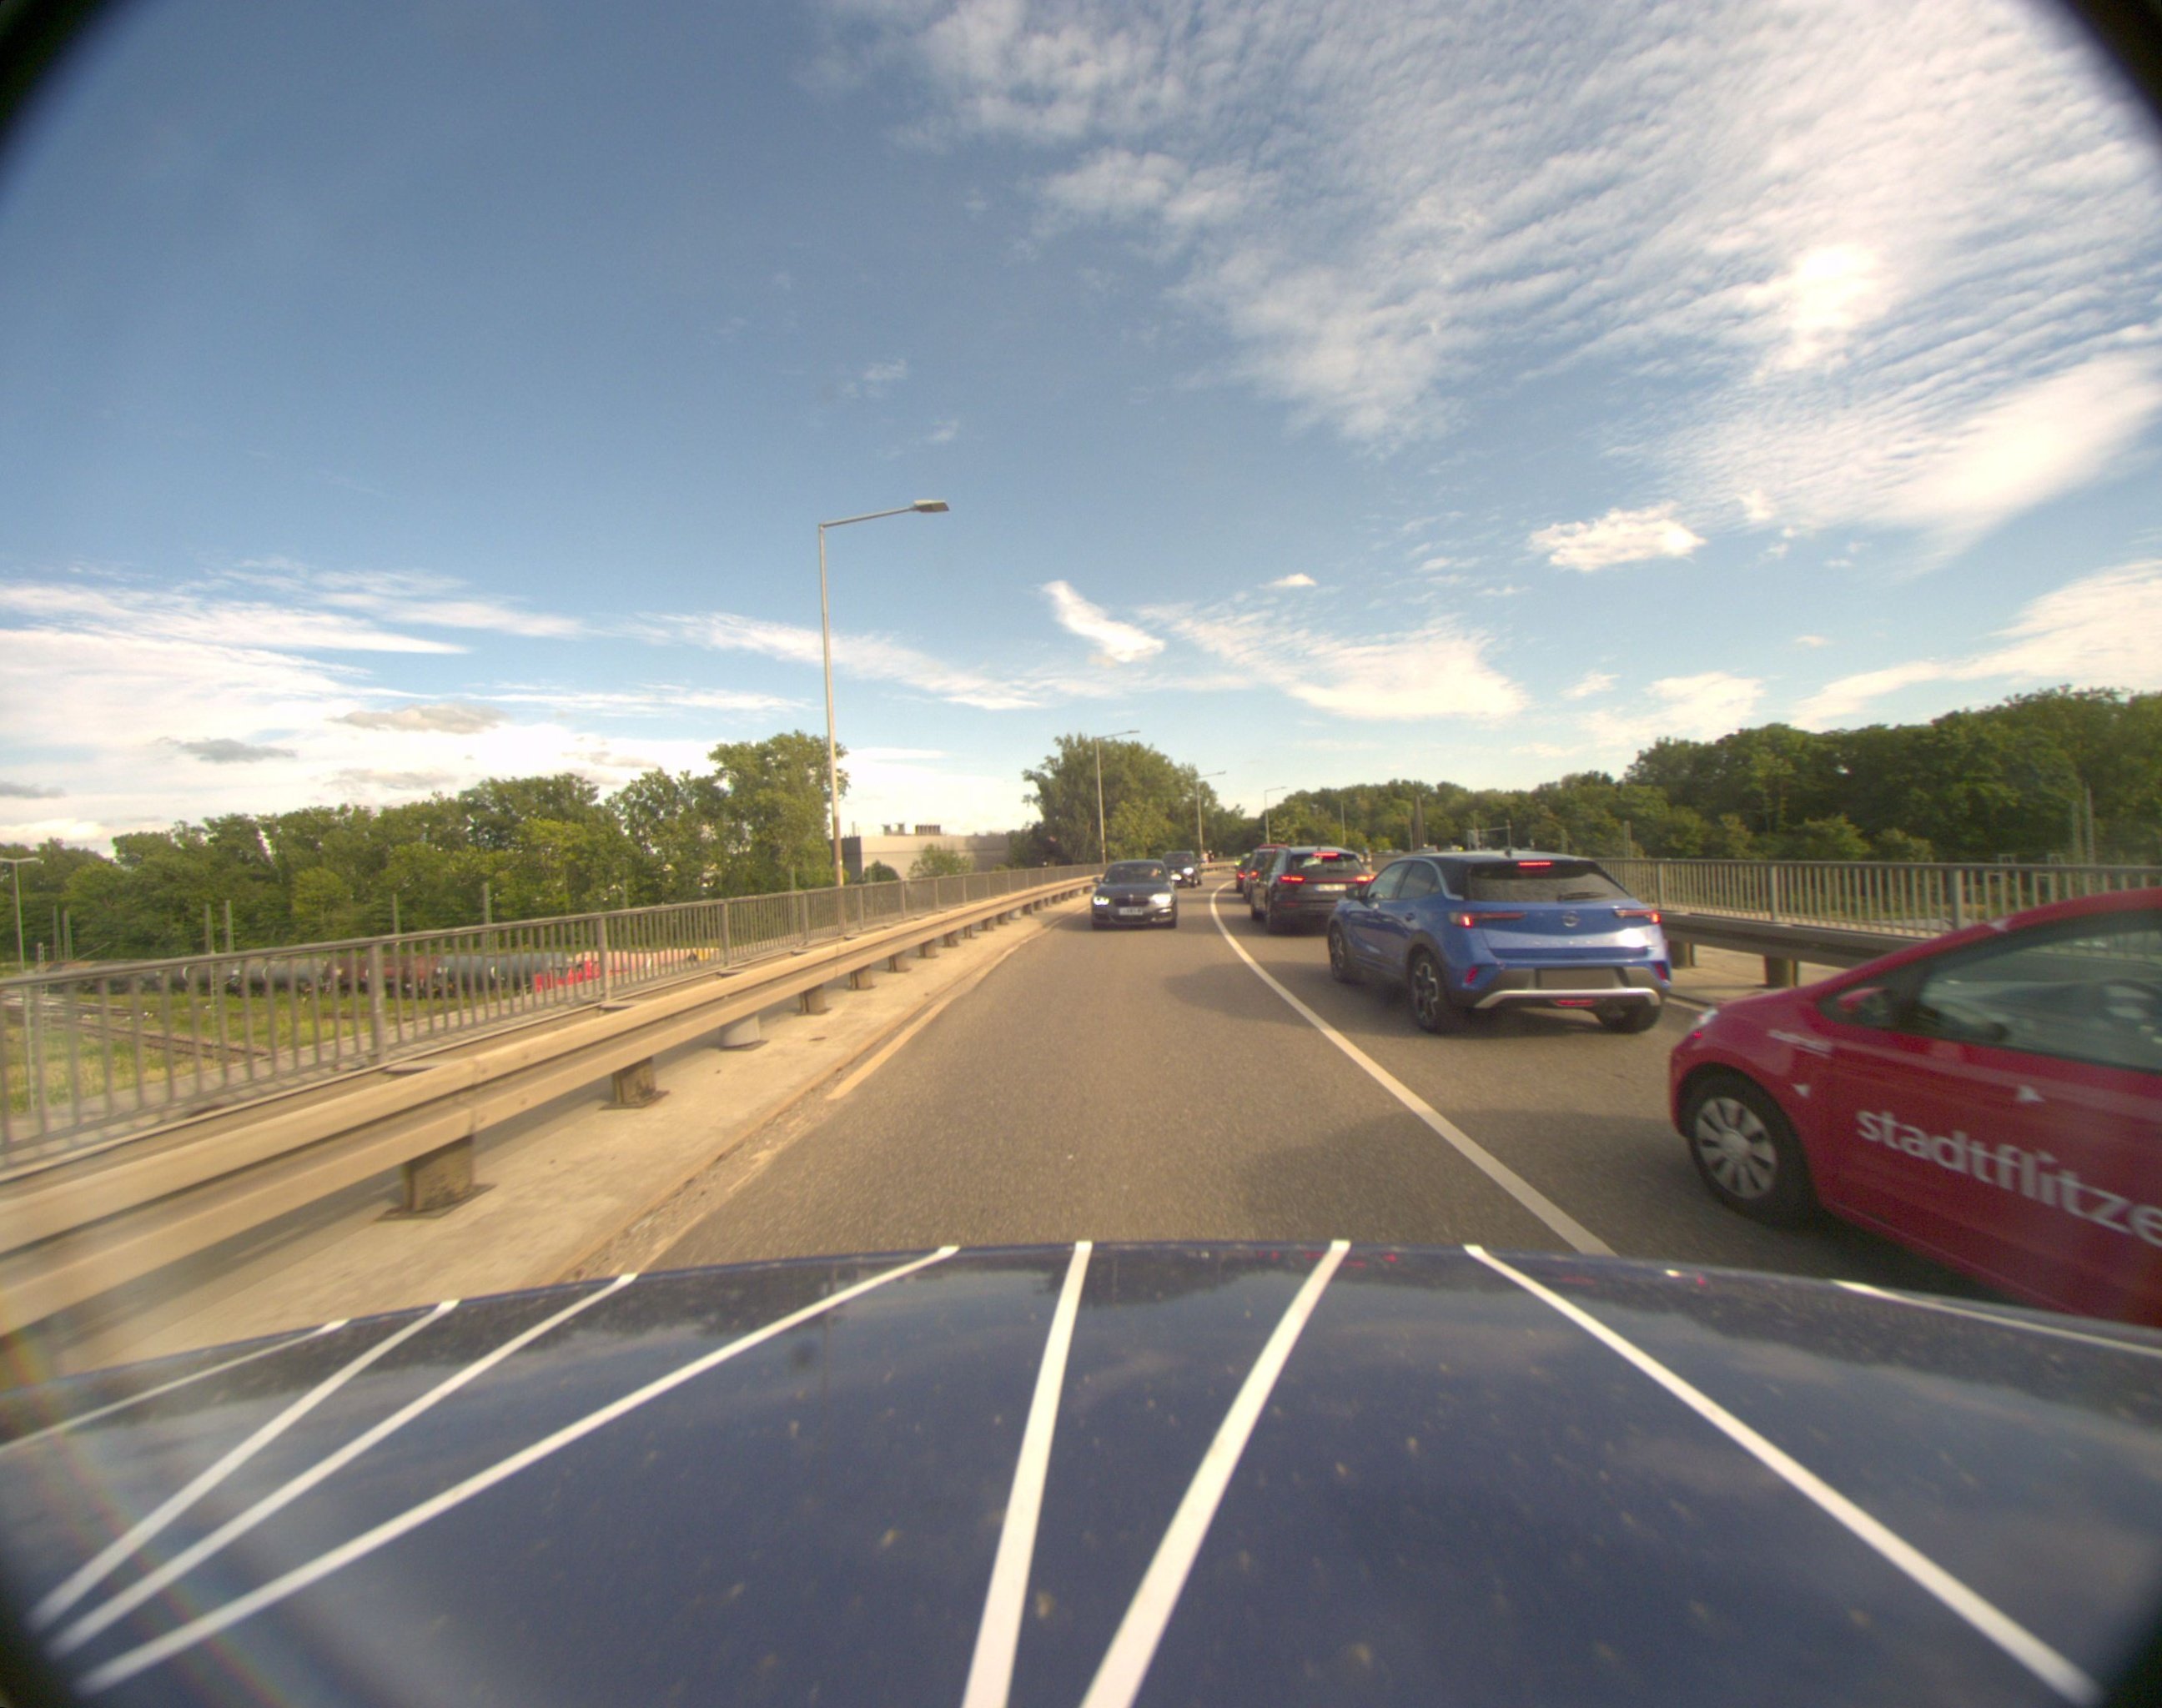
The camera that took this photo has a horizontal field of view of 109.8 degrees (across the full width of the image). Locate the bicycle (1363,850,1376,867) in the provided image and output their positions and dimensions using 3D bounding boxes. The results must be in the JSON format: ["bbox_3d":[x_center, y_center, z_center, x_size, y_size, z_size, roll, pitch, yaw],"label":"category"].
[{"bbox_3d":[22.450,0.341,59.119,0.765,1.324,1.919,-1,1,26],"label":"bicycle"}]

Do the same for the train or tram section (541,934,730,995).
[{"bbox_3d":[-39.187,9.684,66.751,16.719,4.685,3.099,-2,1,14],"label":"train or tram section"}]

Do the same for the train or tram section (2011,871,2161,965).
[{"bbox_3d":[59.890,3.224,38.968,16.717,4.685,3.100,-1,1,15],"label":"train or tram section"}]

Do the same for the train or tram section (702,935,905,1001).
[{"bbox_3d":[-23.002,9.237,62.796,16.718,4.685,3.099,-1,1,14],"label":"train or tram section"}]

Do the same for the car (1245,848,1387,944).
[{"bbox_3d":[4.494,0.706,15.263,1.929,1.639,4.590,-1,1,7],"label":"car"}]

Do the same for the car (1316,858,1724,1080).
[{"bbox_3d":[3.719,0.832,7.376,1.803,1.511,4.008,-1,1,3],"label":"car"}]

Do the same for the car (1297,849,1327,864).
[{"bbox_3d":[24.239,0.222,79.624,1.815,1.498,4.399,0,1,33],"label":"car"}]

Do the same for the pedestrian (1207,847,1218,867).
[{"bbox_3d":[10.807,0.257,62.640,0.677,1.652,0.867,-1,1,24],"label":"pedestrian"}]

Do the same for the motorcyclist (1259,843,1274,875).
[{"bbox_3d":[9.123,0.244,37.320,0.621,1.544,0.938,-1,1,17],"label":"motorcyclist"}]

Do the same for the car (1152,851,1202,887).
[{"bbox_3d":[4.484,0.641,34.992,1.817,1.498,4.395,-1,1,13],"label":"car"}]

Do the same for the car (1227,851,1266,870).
[{"bbox_3d":[13.128,0.529,60.168,1.815,1.396,4.399,0,1,28],"label":"car"}]

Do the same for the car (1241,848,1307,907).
[{"bbox_3d":[5.866,0.644,23.467,1.684,1.639,4.301,-1,1,11],"label":"car"}]

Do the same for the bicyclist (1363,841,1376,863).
[{"bbox_3d":[22.419,-0.153,59.037,0.767,1.651,1.122,-1,1,26],"label":"bicyclist"}]

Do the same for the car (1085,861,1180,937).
[{"bbox_3d":[1.255,0.896,16.791,1.785,1.396,3.973,-1,1,8],"label":"car"}]

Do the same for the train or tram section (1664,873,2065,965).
[{"bbox_3d":[43.774,3.582,43.402,16.717,4.685,3.100,-1,1,15],"label":"train or tram section"}]

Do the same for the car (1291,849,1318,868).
[{"bbox_3d":[18.600,0.388,63.086,1.742,1.492,4.083,-1,1,22],"label":"car"}]

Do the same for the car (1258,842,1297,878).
[{"bbox_3d":[11.171,0.296,43.381,2.010,1.892,4.872,-1,1,13],"label":"car"}]

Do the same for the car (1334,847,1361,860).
[{"bbox_3d":[31.777,-0.050,90.480,1.815,1.498,4.400,0,1,36],"label":"car"}]

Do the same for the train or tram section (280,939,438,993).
[{"bbox_3d":[-71.595,11.019,75.246,16.717,4.685,3.100,-3,1,16],"label":"train or tram section"}]

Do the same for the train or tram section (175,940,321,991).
[{"bbox_3d":[-87.641,11.663,79.864,16.717,4.685,3.100,-3,1,16],"label":"train or tram section"}]

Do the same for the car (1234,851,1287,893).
[{"bbox_3d":[7.009,0.644,29.742,1.835,1.457,4.522,-1,1,13],"label":"car"}]

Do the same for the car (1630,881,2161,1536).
[{"bbox_3d":[3.357,0.881,1.739,1.603,1.456,3.736,-1,1,2],"label":"car"}]

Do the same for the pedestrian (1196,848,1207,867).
[{"bbox_3d":[9.751,0.294,61.624,0.677,1.535,0.962,-1,1,22],"label":"pedestrian"}]

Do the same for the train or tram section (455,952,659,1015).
[{"bbox_3d":[-42.520,10.334,61.493,17.268,4.121,3.100,-1,1,16],"label":"train or tram section"}]
